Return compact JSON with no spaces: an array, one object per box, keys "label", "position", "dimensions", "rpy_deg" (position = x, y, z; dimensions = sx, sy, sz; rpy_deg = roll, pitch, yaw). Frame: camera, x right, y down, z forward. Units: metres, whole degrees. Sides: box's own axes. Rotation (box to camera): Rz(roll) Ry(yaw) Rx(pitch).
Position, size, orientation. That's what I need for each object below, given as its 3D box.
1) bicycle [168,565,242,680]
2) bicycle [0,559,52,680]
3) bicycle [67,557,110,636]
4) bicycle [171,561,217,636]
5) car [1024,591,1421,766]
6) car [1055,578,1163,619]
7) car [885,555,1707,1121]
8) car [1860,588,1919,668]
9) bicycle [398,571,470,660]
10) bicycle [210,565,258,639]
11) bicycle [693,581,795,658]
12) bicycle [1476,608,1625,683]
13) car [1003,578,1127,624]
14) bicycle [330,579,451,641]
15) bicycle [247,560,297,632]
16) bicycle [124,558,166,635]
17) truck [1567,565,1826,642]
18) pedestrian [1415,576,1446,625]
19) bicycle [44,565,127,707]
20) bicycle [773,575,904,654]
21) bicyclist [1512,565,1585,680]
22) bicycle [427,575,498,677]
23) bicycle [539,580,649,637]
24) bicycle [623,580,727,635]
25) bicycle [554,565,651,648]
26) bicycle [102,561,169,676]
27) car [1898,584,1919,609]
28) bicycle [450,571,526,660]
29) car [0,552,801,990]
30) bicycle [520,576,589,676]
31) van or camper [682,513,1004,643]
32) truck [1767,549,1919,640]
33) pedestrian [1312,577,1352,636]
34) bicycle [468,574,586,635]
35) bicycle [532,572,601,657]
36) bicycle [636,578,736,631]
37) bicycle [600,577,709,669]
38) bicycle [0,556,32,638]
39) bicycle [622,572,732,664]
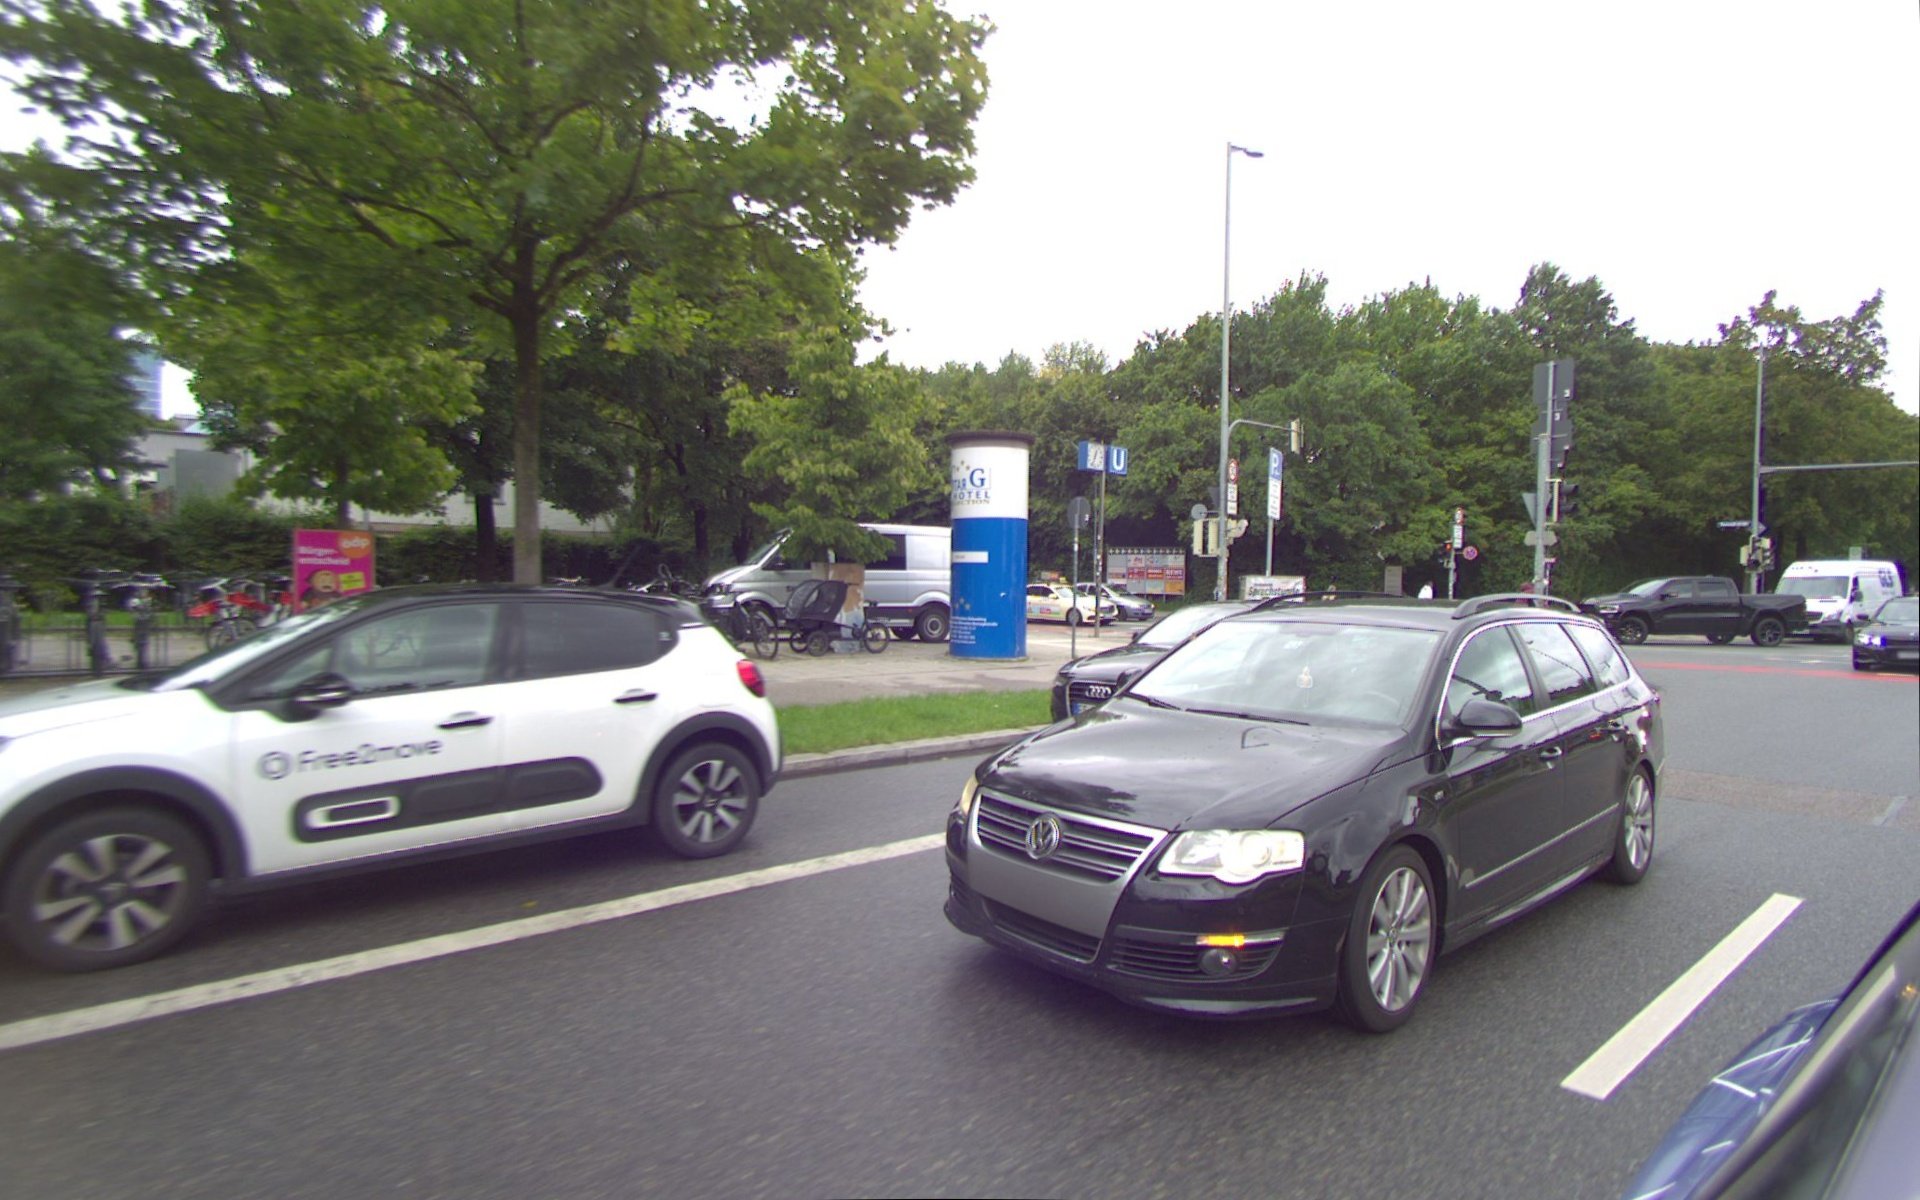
[{"label":"bicycle","position":[-9.149,0.220,12.230],"dimensions":[0.574,1.171,2.344],"rpy_deg":[0,4,-40]},{"label":"bicycle","position":[-10.671,0.167,11.410],"dimensions":[0.574,1.171,2.344],"rpy_deg":[0,4,-40]},{"label":"bicycle","position":[-14.744,-0.091,17.153],"dimensions":[0.520,1.171,2.344],"rpy_deg":[0,4,-40]},{"label":"bicycle","position":[-13.668,-0.058,18.031],"dimensions":[0.520,1.171,2.344],"rpy_deg":[0,4,-40]},{"label":"car","position":[2.831,0.605,10.227],"dimensions":[4.543,1.377,1.712],"rpy_deg":[-1,1,-43]},{"label":"car","position":[5.714,-0.092,39.050],"dimensions":[3.935,1.472,1.603],"rpy_deg":[2,2,42]},{"label":"car","position":[1.979,0.592,4.870],"dimensions":[4.592,1.493,1.750],"rpy_deg":[-1,1,-42]},{"label":"car","position":[19.343,0.500,19.899],"dimensions":[4.589,1.447,1.818],"rpy_deg":[-1,2,-40]},{"label":"bicycle","position":[-7.606,0.188,14.600],"dimensions":[0.557,1.156,1.811],"rpy_deg":[0,3,-39]},{"label":"bicycle","position":[-13.200,-0.002,18.368],"dimensions":[0.520,1.171,2.344],"rpy_deg":[0,4,-40]},{"label":"bicycle","position":[-3.444,0.287,16.060],"dimensions":[1.803,1.084,0.559],"rpy_deg":[4,3,39]},{"label":"bicycle","position":[9.489,0.711,16.331],"dimensions":[1.919,1.094,0.744],"rpy_deg":[1,1,15]},{"label":"car","position":[3.730,-0.025,36.431],"dimensions":[1.856,1.516,4.305],"rpy_deg":[-1,2,-43]},{"label":"bicycle","position":[-11.355,0.185,20.205],"dimensions":[2.092,1.168,0.717],"rpy_deg":[1,1,7]},{"label":"bicycle","position":[-12.752,-0.110,18.738],"dimensions":[0.520,1.171,2.344],"rpy_deg":[0,4,-40]},{"label":"bicycle","position":[-14.255,-0.097,17.676],"dimensions":[0.520,1.171,2.344],"rpy_deg":[0,4,-40]},{"label":"truck","position":[20.870,0.066,28.874],"dimensions":[5.705,2.038,2.105],"rpy_deg":[1,1,2]},{"label":"pedestrian","position":[16.636,0.007,35.812],"dimensions":[0.758,1.724,0.926],"rpy_deg":[1,1,40]},{"label":"bicycle","position":[-8.722,0.290,10.126],"dimensions":[0.574,1.171,2.344],"rpy_deg":[0,4,-40]},{"label":"bicycle","position":[-2.004,0.213,16.798],"dimensions":[1.962,1.213,0.864],"rpy_deg":[0,3,-37]},{"label":"bicyclist","position":[9.478,0.341,16.334],"dimensions":[0.816,1.786,0.743],"rpy_deg":[1,1,14]},{"label":"bicycle","position":[-6.421,0.299,13.016],"dimensions":[0.556,1.156,1.813],"rpy_deg":[0,3,-35]},{"label":"bicycle","position":[-7.745,0.169,21.458],"dimensions":[2.088,1.168,0.718],"rpy_deg":[1,1,0]},{"label":"bicycle","position":[-6.247,0.158,22.269],"dimensions":[2.088,1.168,0.718],"rpy_deg":[1,1,0]},{"label":"bicycle","position":[-5.855,0.080,16.517],"dimensions":[1.936,1.227,0.559],"rpy_deg":[4,3,39]},{"label":"bicycle","position":[-9.975,0.170,12.225],"dimensions":[0.574,1.171,2.344],"rpy_deg":[0,4,-40]},{"label":"car","position":[64.826,-0.247,68.377],"dimensions":[4.183,1.670,1.750],"rpy_deg":[-1,2,-42]},{"label":"bicycle","position":[-6.862,0.192,14.669],"dimensions":[0.557,1.156,1.811],"rpy_deg":[0,3,-39]},{"label":"car","position":[-3.089,0.577,5.072],"dimensions":[4.306,1.567,1.715],"rpy_deg":[-1,2,-42]},{"label":"bicycle","position":[-5.357,0.302,13.303],"dimensions":[0.556,1.156,1.814],"rpy_deg":[0,3,-31]},{"label":"van or camper","position":[-2.334,-0.422,20.369],"dimensions":[6.069,2.325,2.153],"rpy_deg":[0,1,-23]},{"label":"truck","position":[27.993,-0.216,31.931],"dimensions":[7.089,2.636,2.000],"rpy_deg":[-1,1,-35]},{"label":"pedestrian","position":[9.961,0.157,27.123],"dimensions":[0.722,1.557,0.694],"rpy_deg":[0,1,-21]},{"label":"bicycle","position":[-8.662,0.078,20.300],"dimensions":[2.091,1.168,0.718],"rpy_deg":[1,1,5]},{"label":"bicycle","position":[-5.981,0.184,15.325],"dimensions":[0.556,1.156,1.813],"rpy_deg":[0,3,-35]},{"label":"bicycle","position":[-6.221,0.100,23.074],"dimensions":[2.088,1.168,0.718],"rpy_deg":[1,1,0]},{"label":"bicycle","position":[-4.350,0.289,14.347],"dimensions":[1.803,1.156,0.559],"rpy_deg":[4,3,39]},{"label":"bicycle","position":[-15.513,-0.083,16.453],"dimensions":[0.520,1.171,2.344],"rpy_deg":[0,4,-40]},{"label":"bicycle","position":[-4.257,0.228,15.123],"dimensions":[1.936,1.227,0.559],"rpy_deg":[4,3,39]}]
